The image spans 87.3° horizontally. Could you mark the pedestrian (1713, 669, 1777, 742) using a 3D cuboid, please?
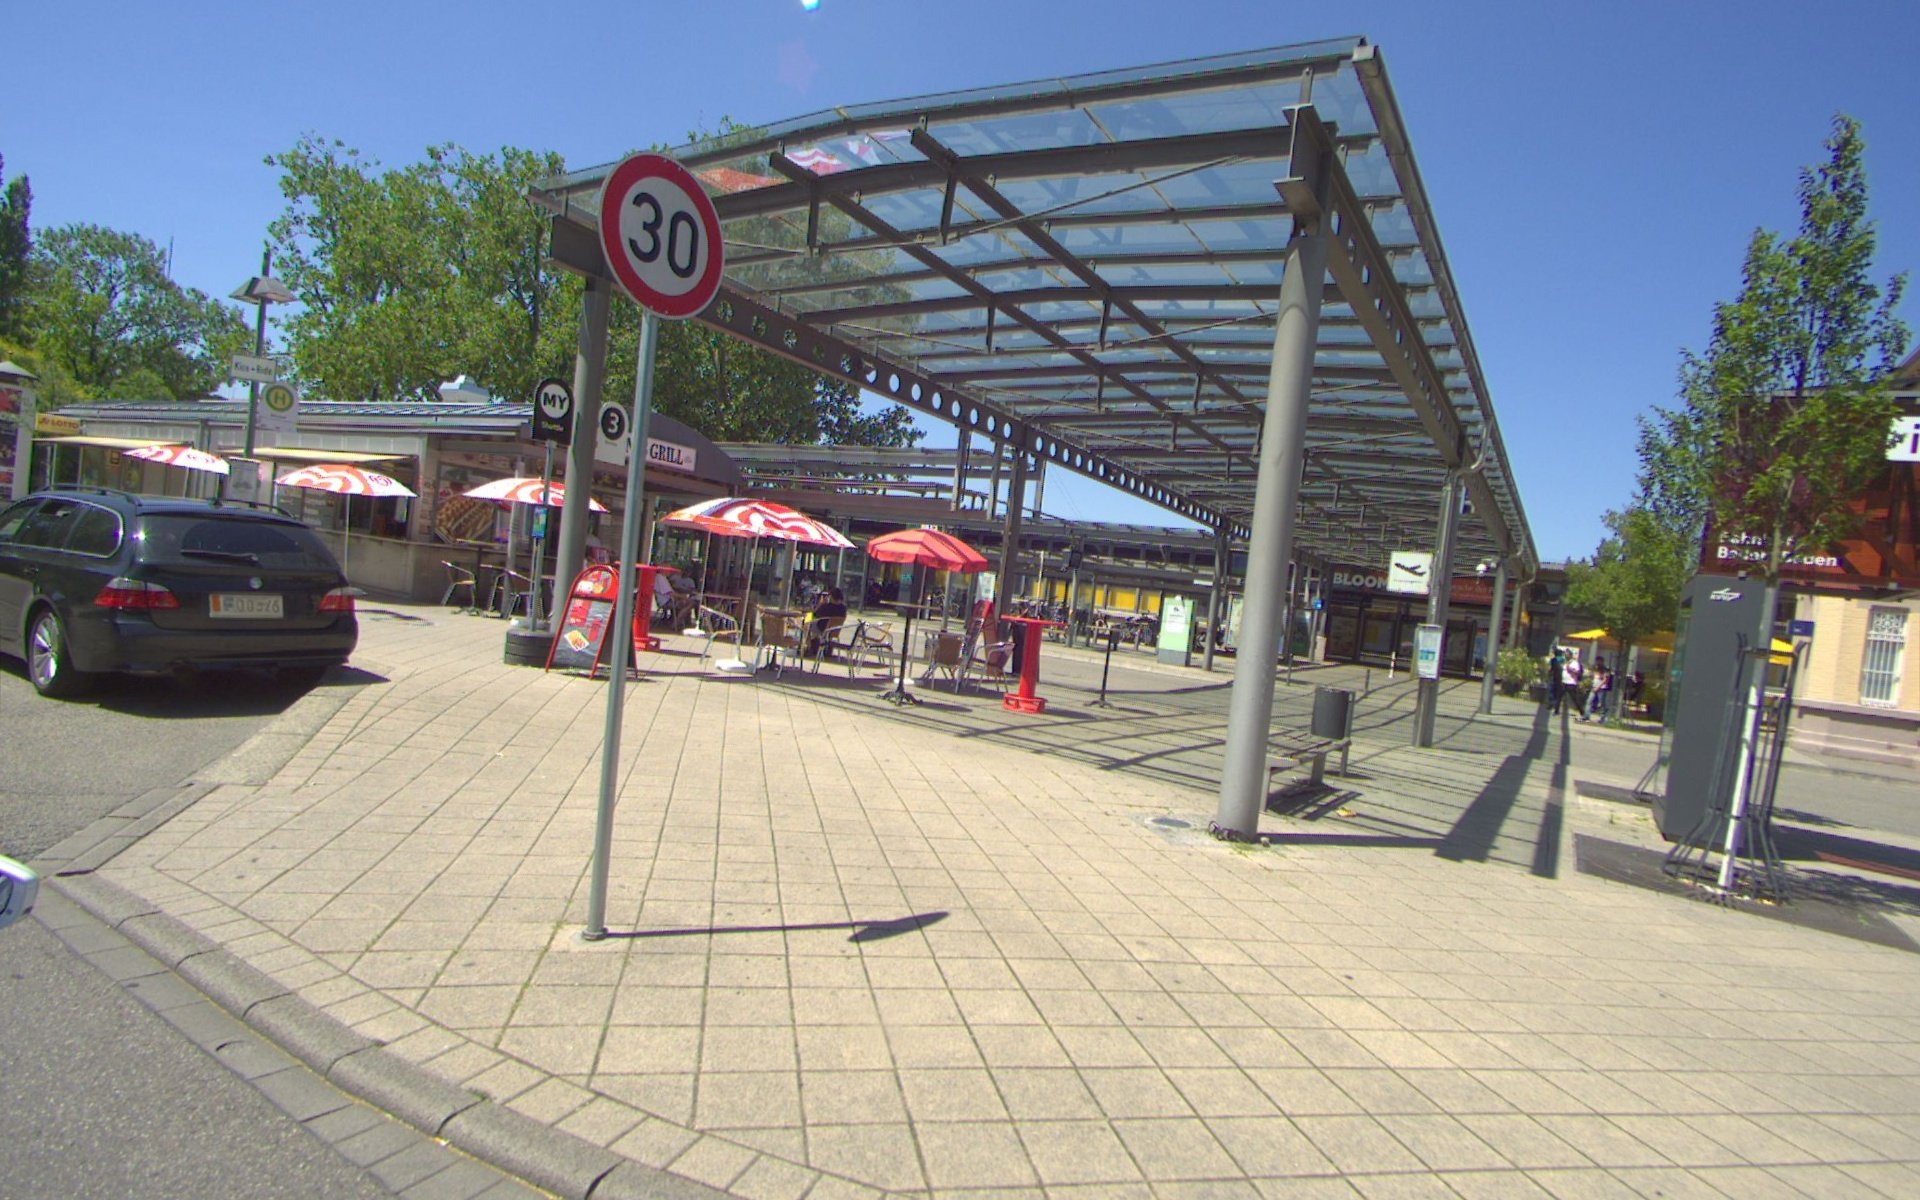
[{"bbox_3d":[21.993,2.936,28.199,1.064,1.870,1.081,7,1,30],"label":"pedestrian"}]

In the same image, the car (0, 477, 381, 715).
[{"bbox_3d":[-7.276,-0.201,8.688,4.646,1.480,1.926,7,3,31],"label":"car"}]
